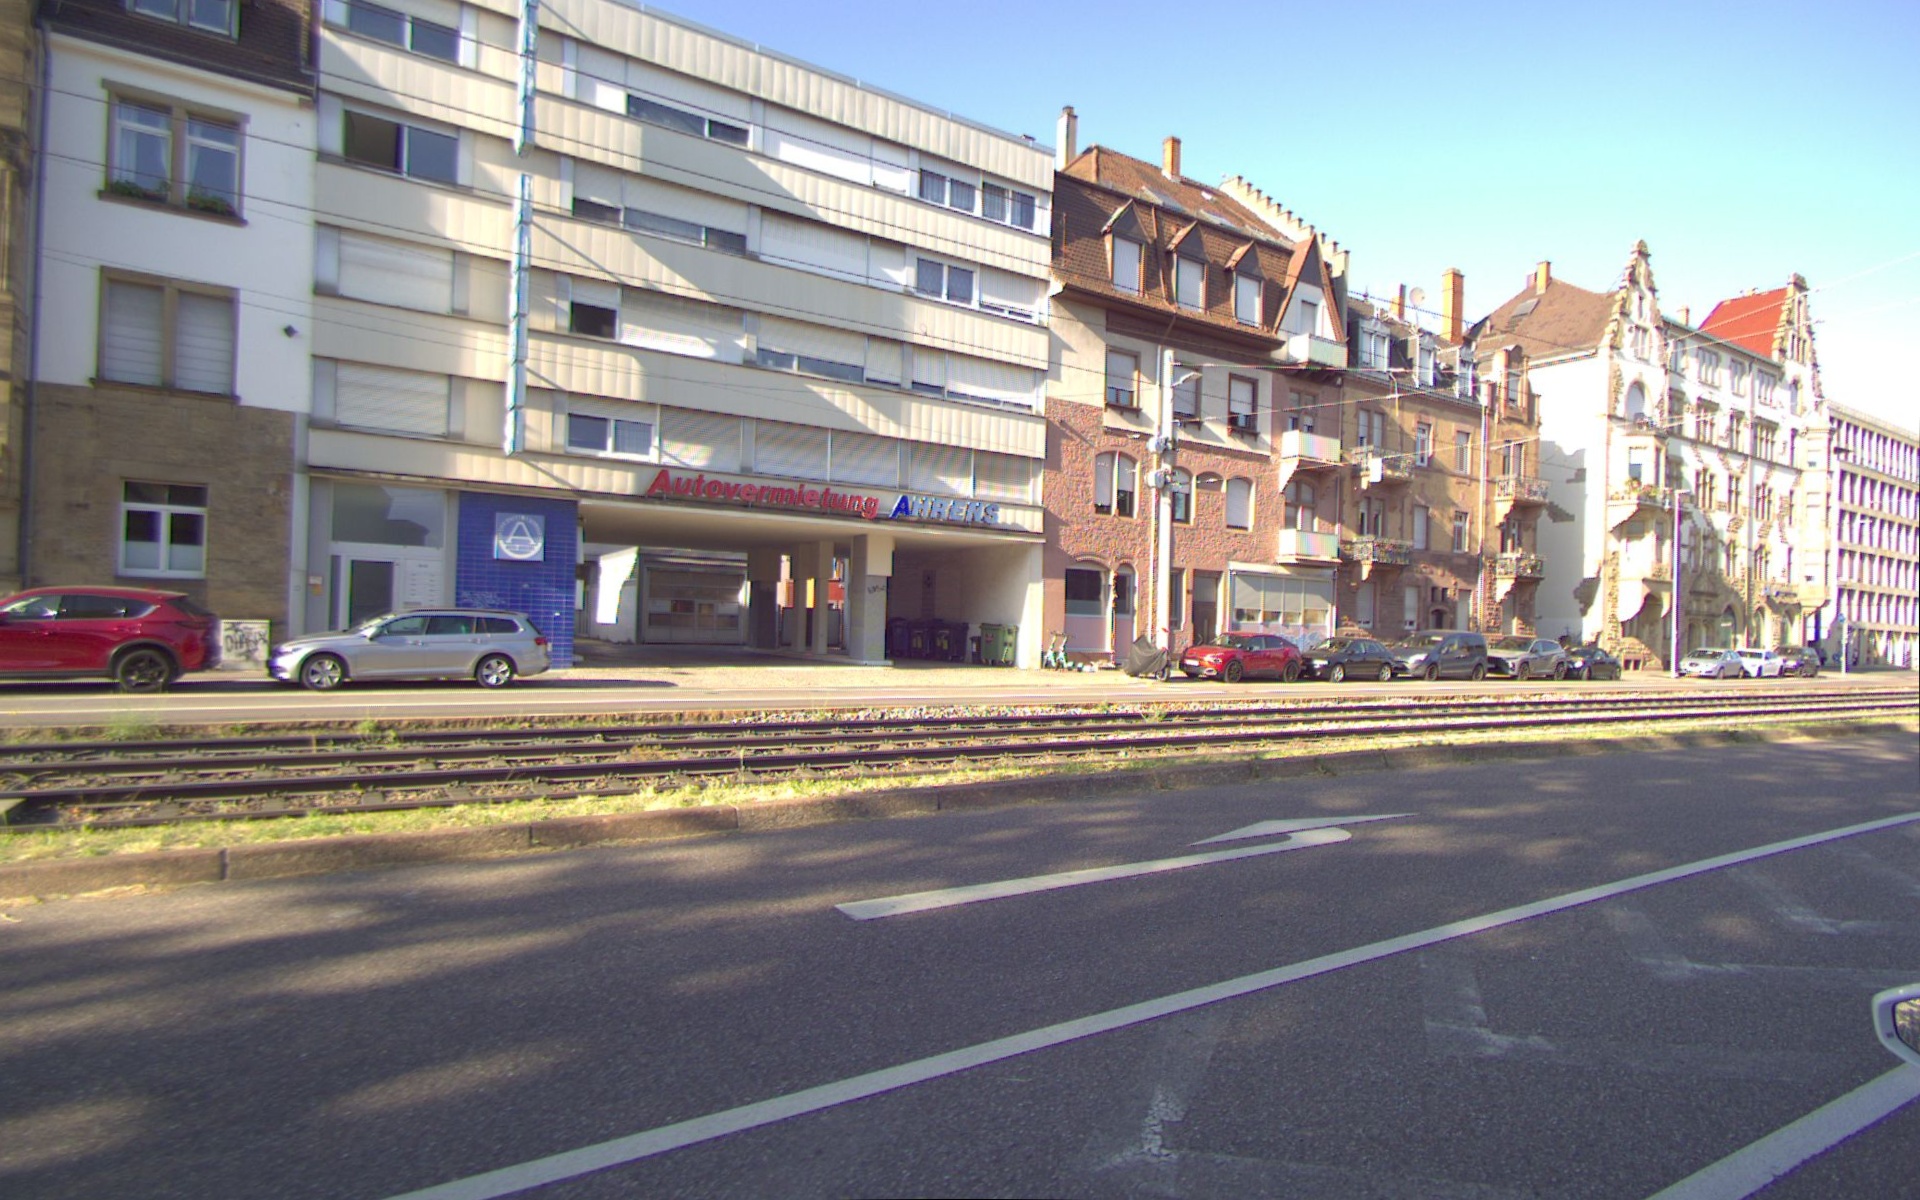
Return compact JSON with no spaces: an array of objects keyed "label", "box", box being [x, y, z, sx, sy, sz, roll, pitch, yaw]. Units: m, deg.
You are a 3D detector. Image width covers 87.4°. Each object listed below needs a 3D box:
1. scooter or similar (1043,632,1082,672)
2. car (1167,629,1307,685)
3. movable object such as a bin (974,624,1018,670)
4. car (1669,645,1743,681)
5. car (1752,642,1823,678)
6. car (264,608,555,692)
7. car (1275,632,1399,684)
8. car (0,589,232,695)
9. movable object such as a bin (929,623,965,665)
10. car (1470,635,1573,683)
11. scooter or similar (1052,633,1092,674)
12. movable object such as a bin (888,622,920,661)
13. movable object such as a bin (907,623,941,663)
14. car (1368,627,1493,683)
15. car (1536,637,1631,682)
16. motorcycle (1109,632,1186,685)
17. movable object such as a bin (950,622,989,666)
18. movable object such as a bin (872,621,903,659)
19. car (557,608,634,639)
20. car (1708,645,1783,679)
[{"label":"scooter or similar","box":[3.243,1.638,31.737,1.187,1.221,0.389,3,1,-31]},{"label":"car","box":[8.597,1.760,31.125,4.221,1.479,1.783,3,2,-33]},{"label":"movable object such as a bin","box":[1.134,1.489,32.152,0.629,1.389,1.400,2,-1,-38]},{"label":"car","box":[36.357,3.031,48.917,3.963,1.530,1.781,2,2,-37]},{"label":"car","box":[45.388,3.288,55.104,4.141,1.742,1.783,2,2,-33]},{"label":"car","box":[-10.365,0.950,19.148,4.632,1.409,1.823,3,-1,-33]},{"label":"car","box":[12.608,1.927,33.514,3.956,1.530,1.784,3,2,-32]},{"label":"car","box":[-14.655,0.669,16.359,4.304,1.579,1.824,3,0,-31]},{"label":"movable object such as a bin","box":[-0.446,1.498,34.555,0.629,1.389,1.258,2,-2,-35]},{"label":"car","box":[22.065,2.305,39.435,4.153,1.674,1.677,3,2,-32]},{"label":"scooter or similar","box":[3.470,1.665,31.217,1.187,1.221,0.389,3,1,-31]},{"label":"movable object such as a bin","box":[-2.046,1.521,36.826,0.628,1.389,1.260,2,-1,-31]},{"label":"movable object such as a bin","box":[-1.276,1.521,35.604,0.628,1.389,1.260,2,-1,-31]},{"label":"car","box":[16.967,2.001,36.211,4.402,1.777,1.786,3,2,-29]},{"label":"car","box":[26.232,2.488,42.258,4.153,1.674,1.677,3,2,-32]},{"label":"motorcycle","box":[5.499,1.700,29.516,2.045,1.345,0.836,5,2,43]},{"label":"movable object such as a bin","box":[0.311,1.447,33.325,0.629,1.389,1.184,2,-1,-38]},{"label":"movable object such as a bin","box":[-2.734,1.522,37.969,0.628,1.389,1.260,2,-1,-31]},{"label":"car","box":[-21.194,1.378,58.421,3.954,1.530,1.785,3,0,-31]},{"label":"car","box":[40.683,3.209,52.024,4.141,1.530,1.783,3,2,-33]}]
